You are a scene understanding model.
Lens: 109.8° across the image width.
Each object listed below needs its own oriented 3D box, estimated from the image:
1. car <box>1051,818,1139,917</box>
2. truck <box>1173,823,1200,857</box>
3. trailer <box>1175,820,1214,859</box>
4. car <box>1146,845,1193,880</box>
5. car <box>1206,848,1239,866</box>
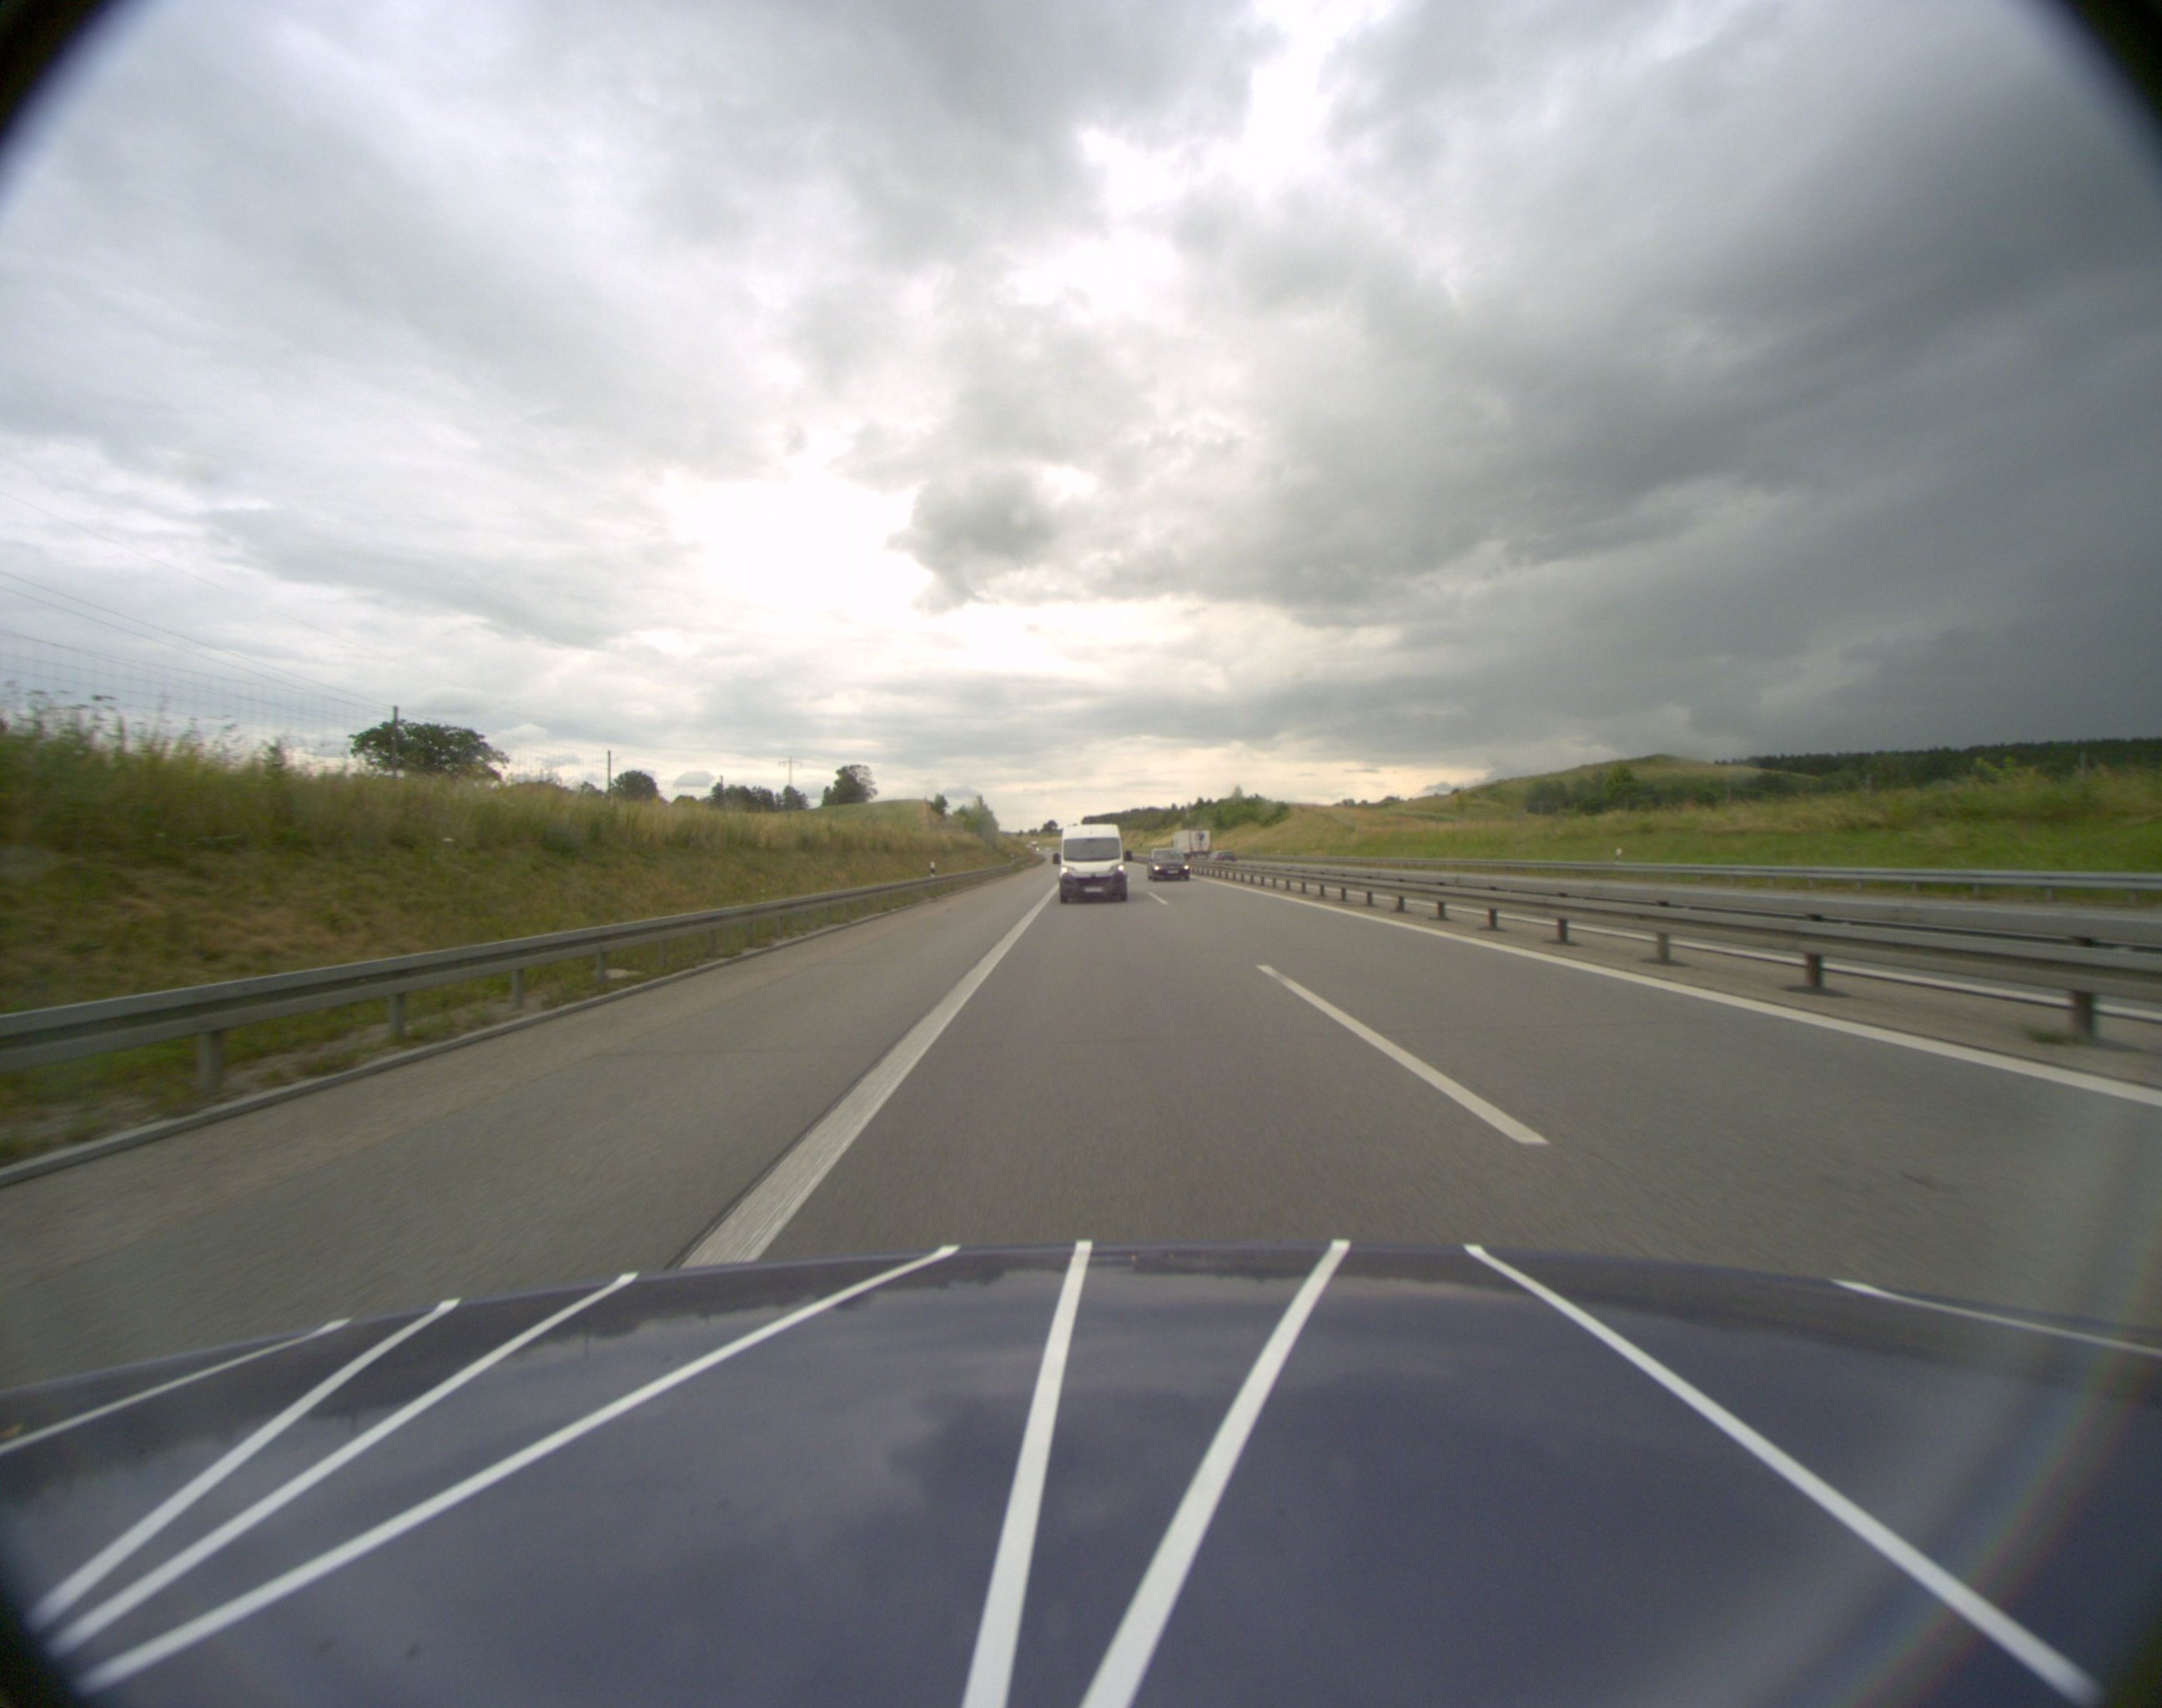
[{"bbox_3d":[0.331,0.292,21.881,2.132,2.412,6.110,-1,1,0],"label":"car"},{"bbox_3d":[14.804,-1.901,106.775,2.802,4.620,6.919,-1,1,0],"label":"truck"},{"bbox_3d":[14.793,-1.847,99.998,2.802,4.623,14.845,-1,1,0],"label":"trailer"},{"bbox_3d":[4.456,0.377,38.944,1.901,1.661,5.396,-1,1,2],"label":"car"},{"bbox_3d":[11.397,0.211,61.481,1.768,1.416,3.999,-1,1,-2],"label":"car"}]
